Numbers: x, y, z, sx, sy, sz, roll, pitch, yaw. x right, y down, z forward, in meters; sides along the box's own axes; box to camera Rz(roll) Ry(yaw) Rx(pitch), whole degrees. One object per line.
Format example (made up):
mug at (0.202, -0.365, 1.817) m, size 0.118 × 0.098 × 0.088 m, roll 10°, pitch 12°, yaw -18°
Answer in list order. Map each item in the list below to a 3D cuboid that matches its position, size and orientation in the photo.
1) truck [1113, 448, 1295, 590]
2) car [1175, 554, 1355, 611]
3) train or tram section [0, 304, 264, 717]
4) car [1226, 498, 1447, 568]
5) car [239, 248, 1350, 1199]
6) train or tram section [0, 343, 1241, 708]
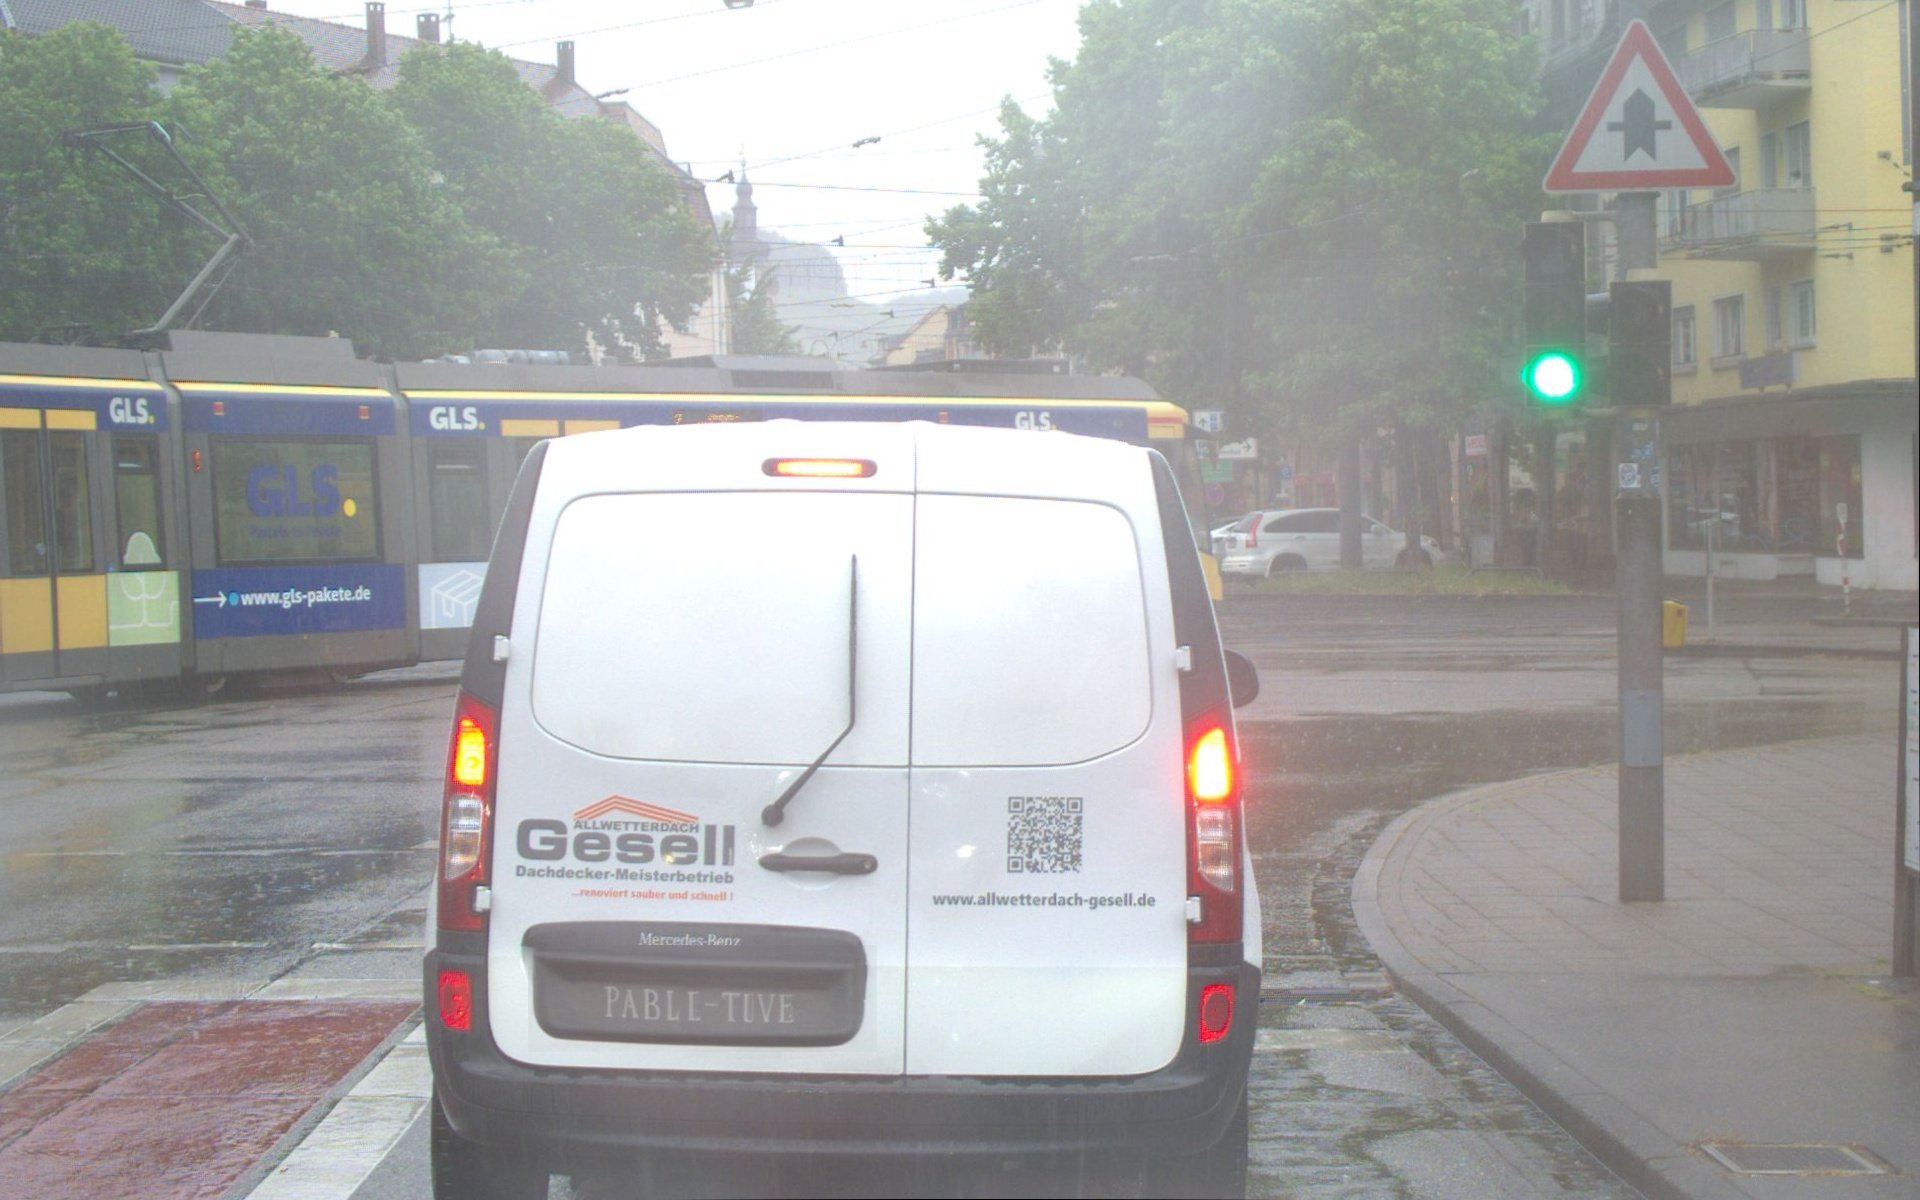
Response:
truck at (9.121, -3.031, 131.458) m, size 3.469 × 5.070 × 15.311 m, roll 0°, pitch 1°, yaw -9°
car at (6.266, -0.361, 70.711) m, size 3.441 × 1.126 × 1.472 m, roll 0°, pitch 1°, yaw -8°
train or tram section at (-10.828, -0.775, 27.139) m, size 3.517 × 3.500 × 13.644 m, roll 1°, pitch 1°, yaw 22°
car at (7.540, -1.353, 68.959) m, size 4.165 × 1.334 × 1.521 m, roll -1°, pitch 2°, yaw -7°
car at (-0.340, 0.314, 9.018) m, size 2.100 × 2.005 × 4.963 m, roll 0°, pitch 1°, yaw -1°
train or tram section at (-3.192, -0.722, 38.778) m, size 3.550 × 3.401 × 15.463 m, roll 2°, pitch 1°, yaw 44°
